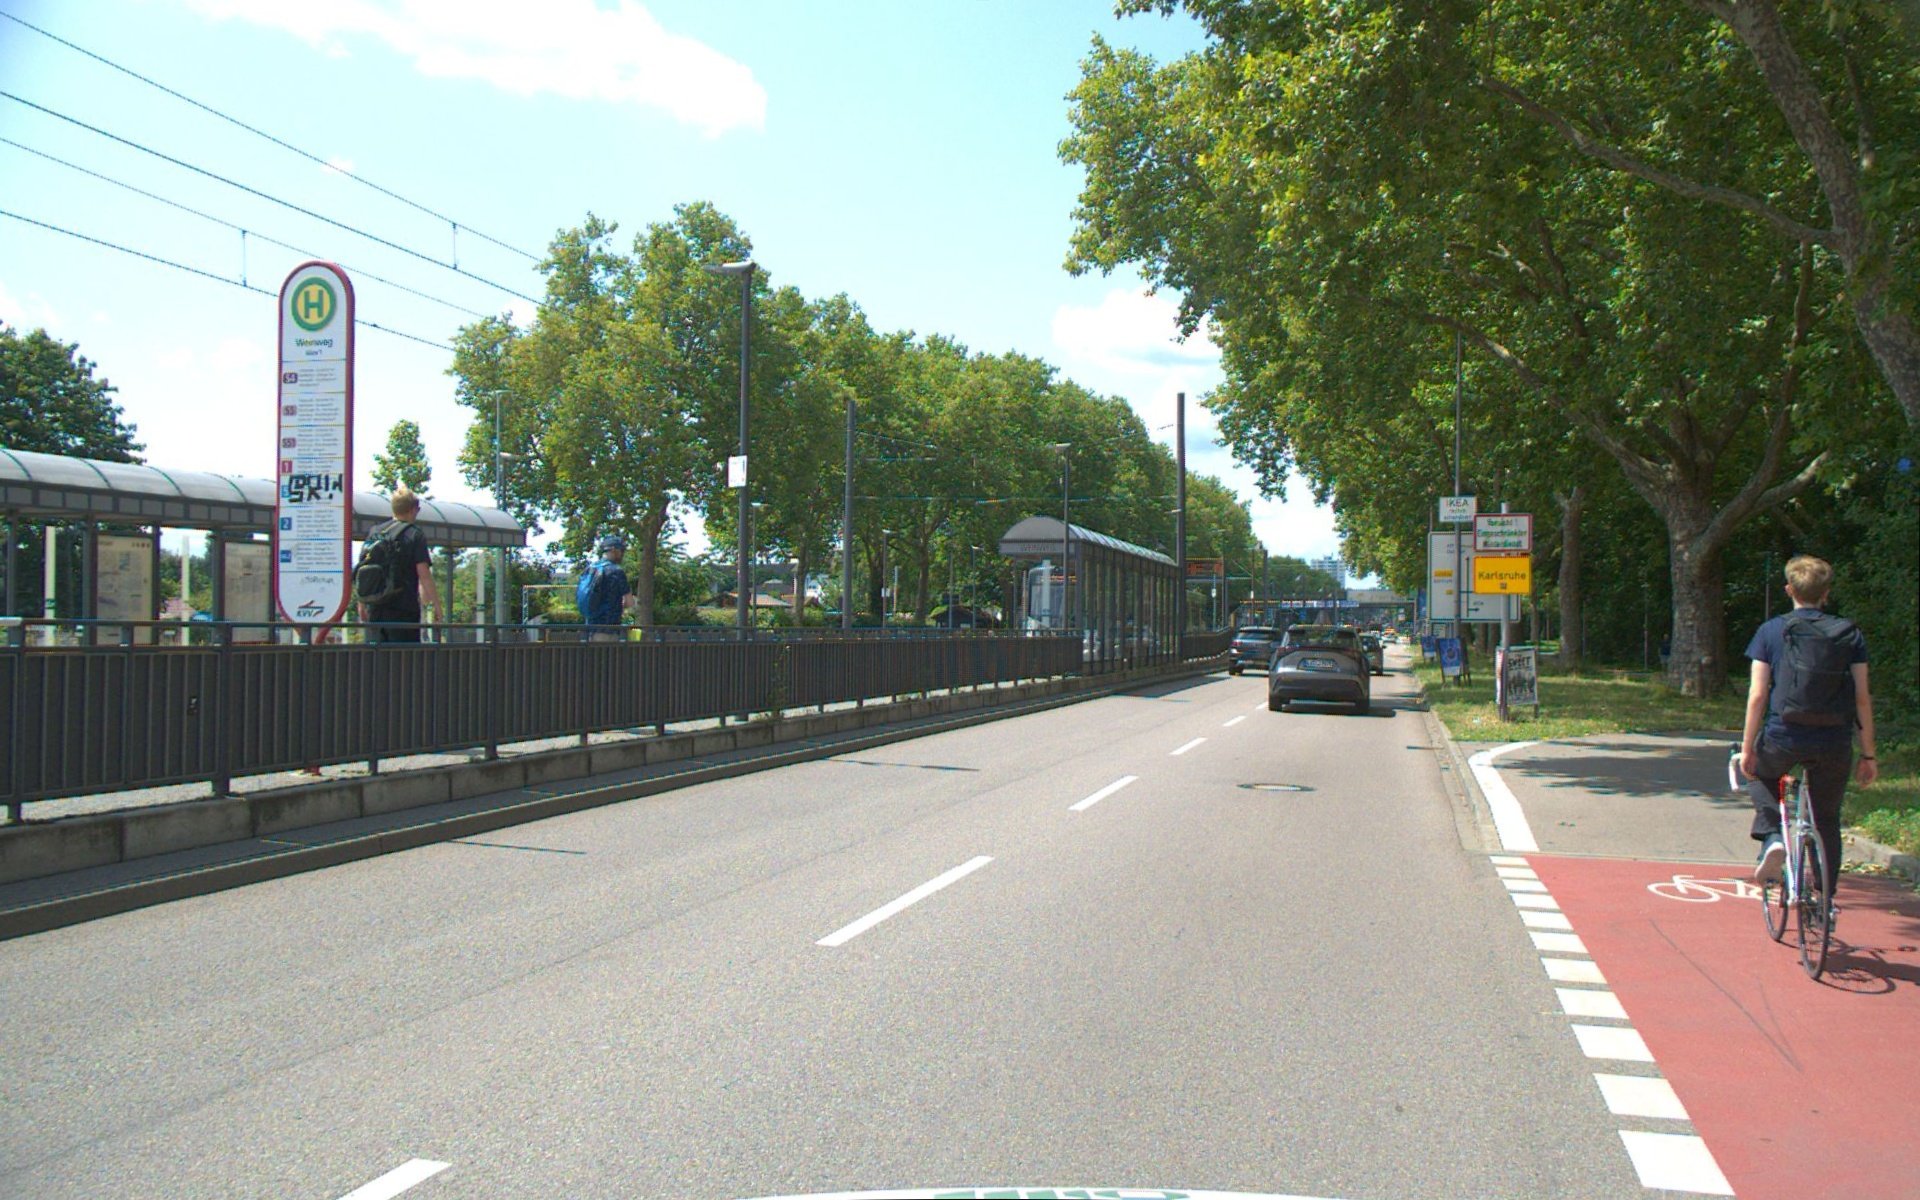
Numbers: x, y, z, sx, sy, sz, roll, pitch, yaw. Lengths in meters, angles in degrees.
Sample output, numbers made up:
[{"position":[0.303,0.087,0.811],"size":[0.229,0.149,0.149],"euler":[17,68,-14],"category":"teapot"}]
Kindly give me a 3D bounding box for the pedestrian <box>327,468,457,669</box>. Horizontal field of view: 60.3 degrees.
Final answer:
[{"position":[-5.353,-0.289,15.631],"size":[0.718,1.839,0.930],"euler":[1,-1,16],"category":"pedestrian"}]

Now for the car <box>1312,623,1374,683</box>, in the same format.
[{"position":[13.956,1.880,60.147],"size":[1.951,2.024,4.366],"euler":[1,0,16],"category":"car"}]

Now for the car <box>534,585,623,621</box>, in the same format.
[{"position":[-18.904,0.132,81.964],"size":[3.832,1.691,1.911],"euler":[1,0,17],"category":"car"}]

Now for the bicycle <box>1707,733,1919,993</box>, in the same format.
[{"position":[4.053,1.171,7.874],"size":[0.607,1.017,2.024],"euler":[1,-3,16],"category":"bicycle"}]

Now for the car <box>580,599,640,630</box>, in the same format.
[{"position":[-20.267,0.814,96.014],"size":[1.863,1.691,3.931],"euler":[1,0,14],"category":"car"}]

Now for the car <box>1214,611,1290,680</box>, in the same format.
[{"position":[9.500,1.431,53.621],"size":[1.951,2.024,4.366],"euler":[3,0,15],"category":"car"}]

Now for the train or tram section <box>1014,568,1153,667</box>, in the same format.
[{"position":[4.886,0.711,61.639],"size":[2.972,3.242,14.111],"euler":[0,-1,13],"category":"train or tram section"}]

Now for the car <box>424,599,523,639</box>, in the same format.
[{"position":[-21.863,0.822,74.332],"size":[3.832,1.691,1.911],"euler":[1,0,17],"category":"car"}]

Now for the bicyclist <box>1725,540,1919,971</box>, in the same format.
[{"position":[4.032,0.682,7.786],"size":[0.596,1.878,0.924],"euler":[2,0,16],"category":"bicyclist"}]

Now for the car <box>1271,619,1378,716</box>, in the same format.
[{"position":[7.071,1.235,31.857],"size":[1.857,1.704,4.523],"euler":[1,-1,14],"category":"car"}]

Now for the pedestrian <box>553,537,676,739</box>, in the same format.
[{"position":[-3.161,0.339,15.191],"size":[0.718,1.786,0.930],"euler":[1,-1,16],"category":"pedestrian"}]

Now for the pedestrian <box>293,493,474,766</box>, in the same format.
[{"position":[-4.348,0.205,12.534],"size":[0.854,1.973,0.995],"euler":[1,0,15],"category":"pedestrian"}]
